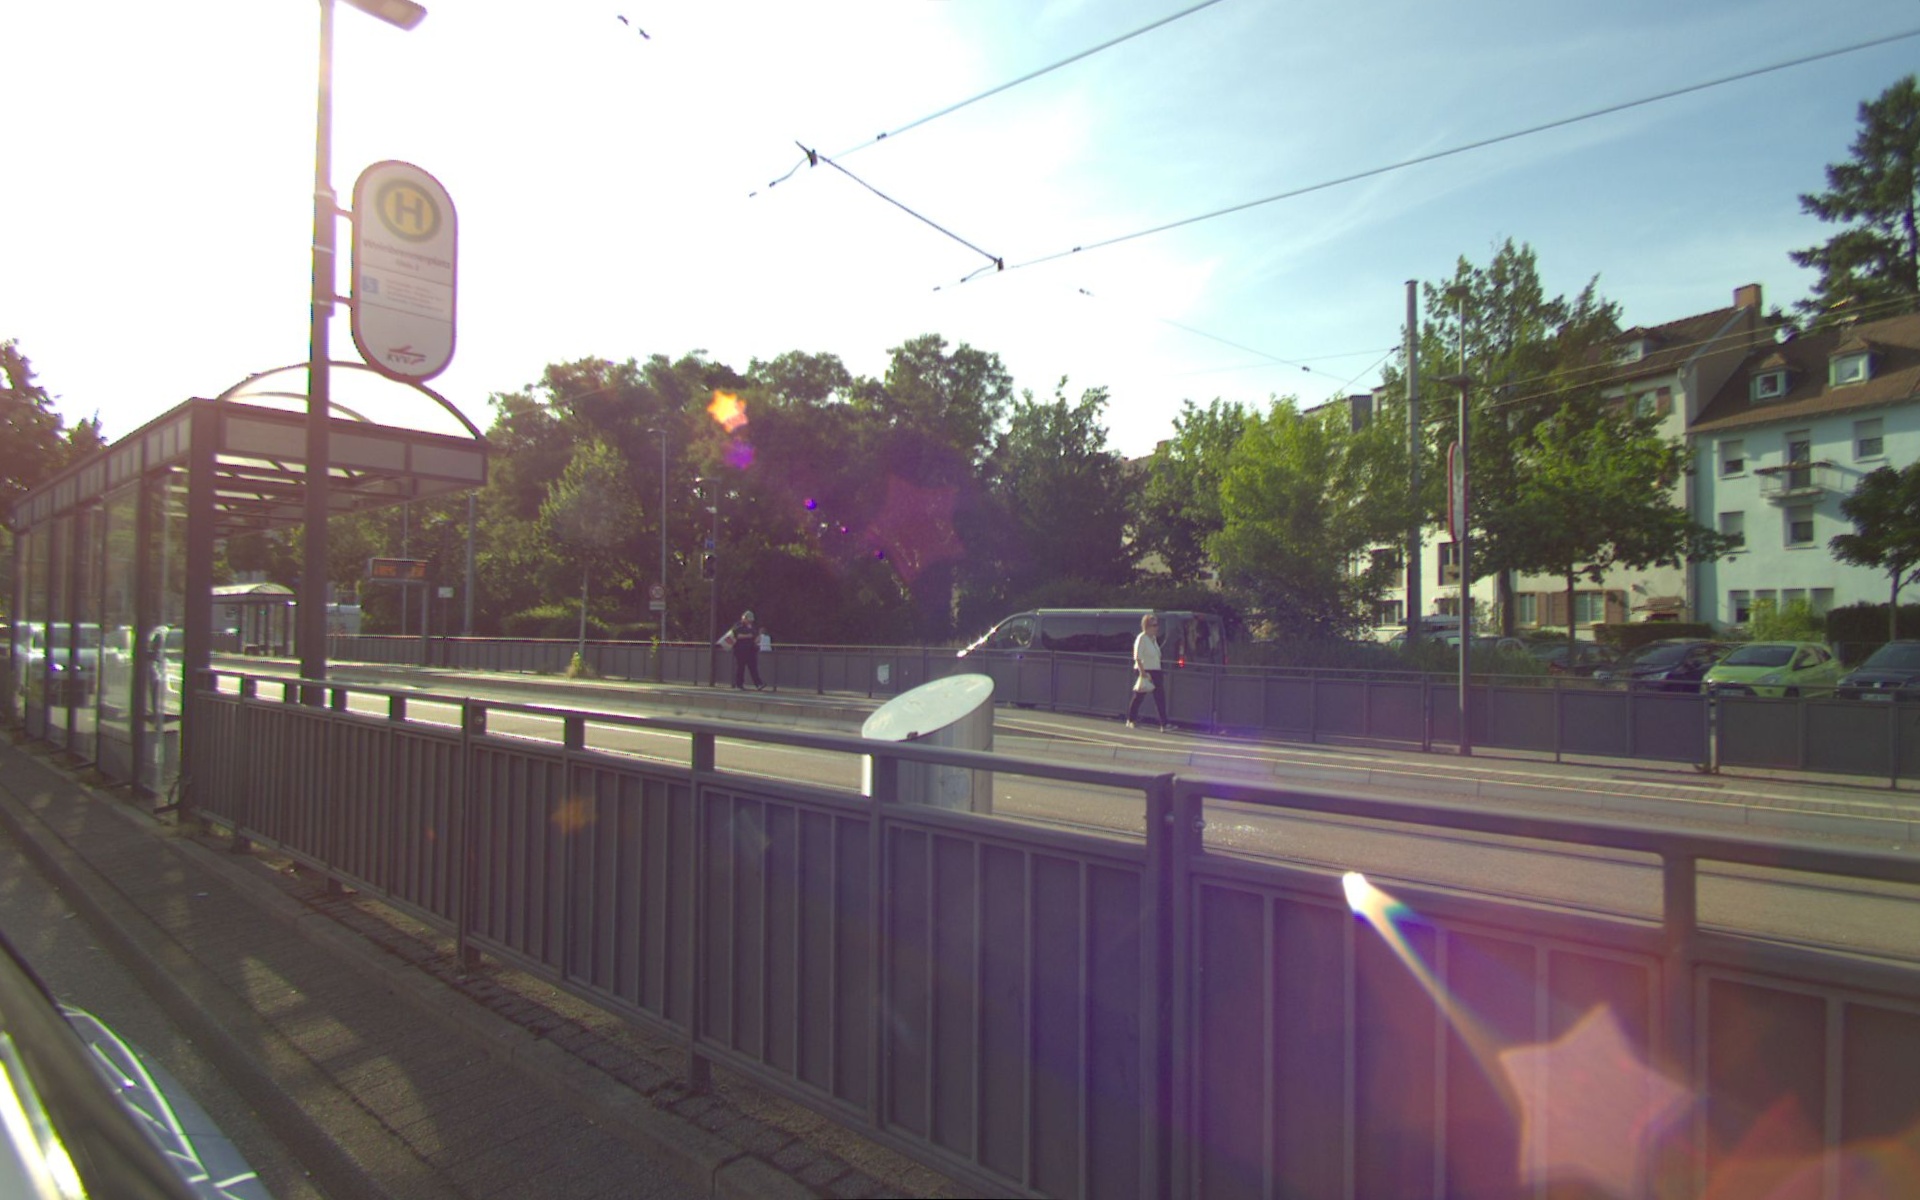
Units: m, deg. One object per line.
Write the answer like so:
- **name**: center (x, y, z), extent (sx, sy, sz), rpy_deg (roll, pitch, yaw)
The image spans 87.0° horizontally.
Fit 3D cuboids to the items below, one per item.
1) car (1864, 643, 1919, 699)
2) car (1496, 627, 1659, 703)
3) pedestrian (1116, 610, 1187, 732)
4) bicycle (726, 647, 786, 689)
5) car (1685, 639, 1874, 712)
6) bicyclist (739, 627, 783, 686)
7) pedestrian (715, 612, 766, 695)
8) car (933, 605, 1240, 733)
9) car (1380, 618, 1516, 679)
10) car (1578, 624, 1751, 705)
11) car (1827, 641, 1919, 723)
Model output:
- **car**: center (25.519, 1.806, 25.424), extent (1.523, 1.437, 3.877), rpy_deg (1, -2, -26)
- **car**: center (15.640, 1.602, 25.597), extent (3.931, 1.767, 1.860), rpy_deg (2, -2, -30)
- **pedestrian**: center (2.679, 0.972, 14.114), extent (0.727, 1.640, 0.699), rpy_deg (-1, -3, 41)
- **bicycle**: center (-5.883, 1.946, 29.144), extent (1.864, 1.118, 0.718), rpy_deg (-2, -1, 42)
- **car**: center (17.800, 1.597, 21.981), extent (3.931, 1.439, 1.778), rpy_deg (2, -2, -28)
- **bicyclist**: center (-5.707, 1.597, 29.001), extent (1.071, 1.636, 0.697), rpy_deg (-2, -1, 42)
- **pedestrian**: center (-4.481, 1.084, 20.665), extent (0.689, 1.640, 0.727), rpy_deg (-1, -3, 41)
- **car**: center (2.194, 1.174, 18.681), extent (5.384, 2.029, 2.123), rpy_deg (-1, -3, 41)
- **car**: center (14.985, 1.475, 31.058), extent (3.931, 1.767, 1.860), rpy_deg (2, -2, -30)
- **car**: center (16.641, 1.484, 23.877), extent (3.931, 1.767, 1.860), rpy_deg (2, -2, -30)
- **car**: center (18.687, 1.534, 19.417), extent (3.931, 1.439, 1.778), rpy_deg (2, -2, -28)
